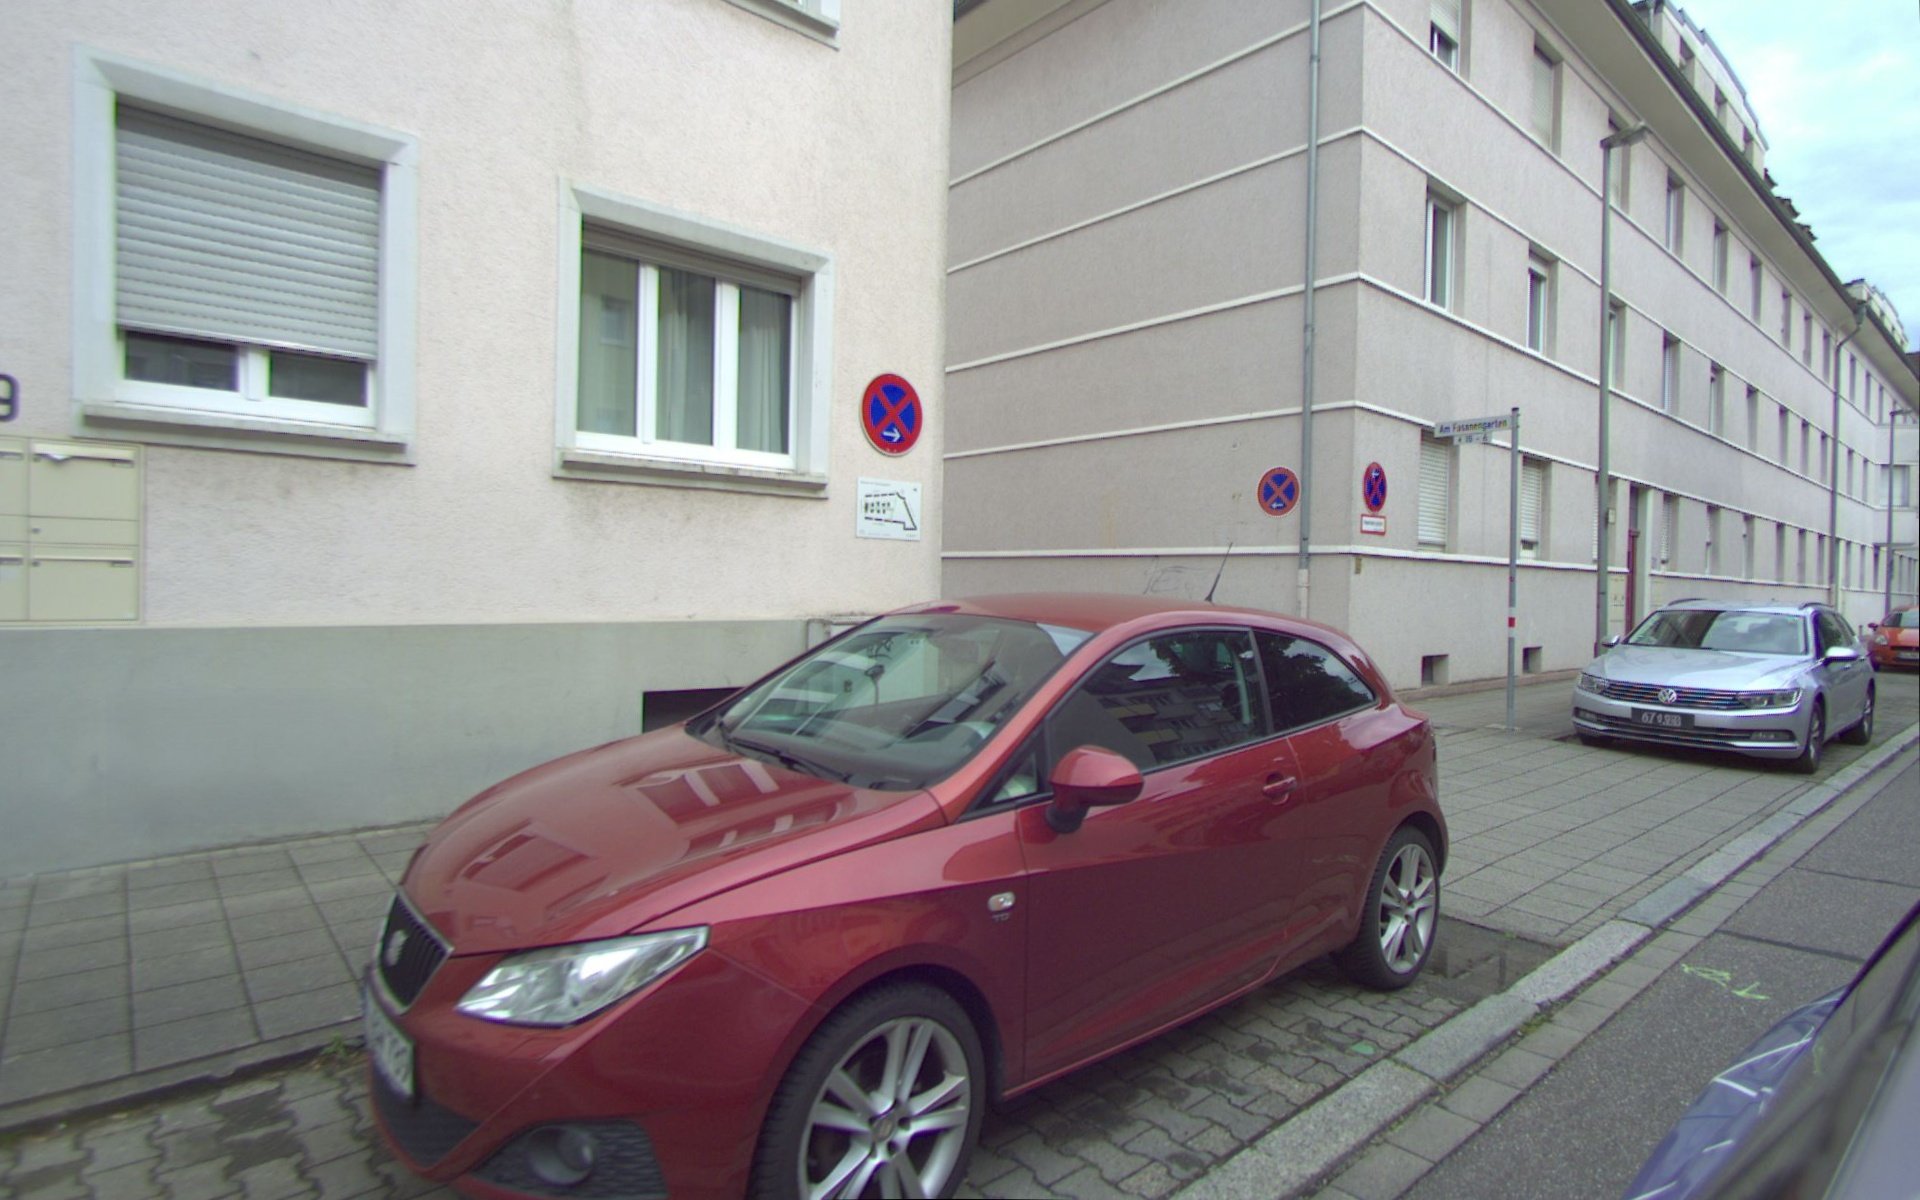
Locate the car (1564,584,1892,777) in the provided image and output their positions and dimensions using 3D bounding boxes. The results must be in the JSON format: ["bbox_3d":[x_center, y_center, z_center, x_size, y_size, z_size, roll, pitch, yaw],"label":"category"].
[{"bbox_3d":[7.718,0.643,10.038,3.969,1.482,1.791,1,2,-41],"label":"car"}]

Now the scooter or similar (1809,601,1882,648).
[{"bbox_3d":[24.546,0.679,28.054,1.441,1.248,0.652,1,1,-5],"label":"scooter or similar"}]

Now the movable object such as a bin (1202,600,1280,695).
[{"bbox_3d":[3.288,0.542,11.857,0.692,1.055,0.550,1,1,-38],"label":"movable object such as a bin"}]

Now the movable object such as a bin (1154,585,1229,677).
[{"bbox_3d":[2.790,0.354,12.199,0.692,1.055,0.550,1,1,-38],"label":"movable object such as a bin"}]

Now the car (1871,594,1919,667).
[{"bbox_3d":[21.749,0.677,22.487,3.707,1.504,1.758,0,2,-41],"label":"car"}]

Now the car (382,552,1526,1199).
[{"bbox_3d":[0.306,0.639,3.637,3.867,1.426,1.757,0,3,-41],"label":"car"}]
